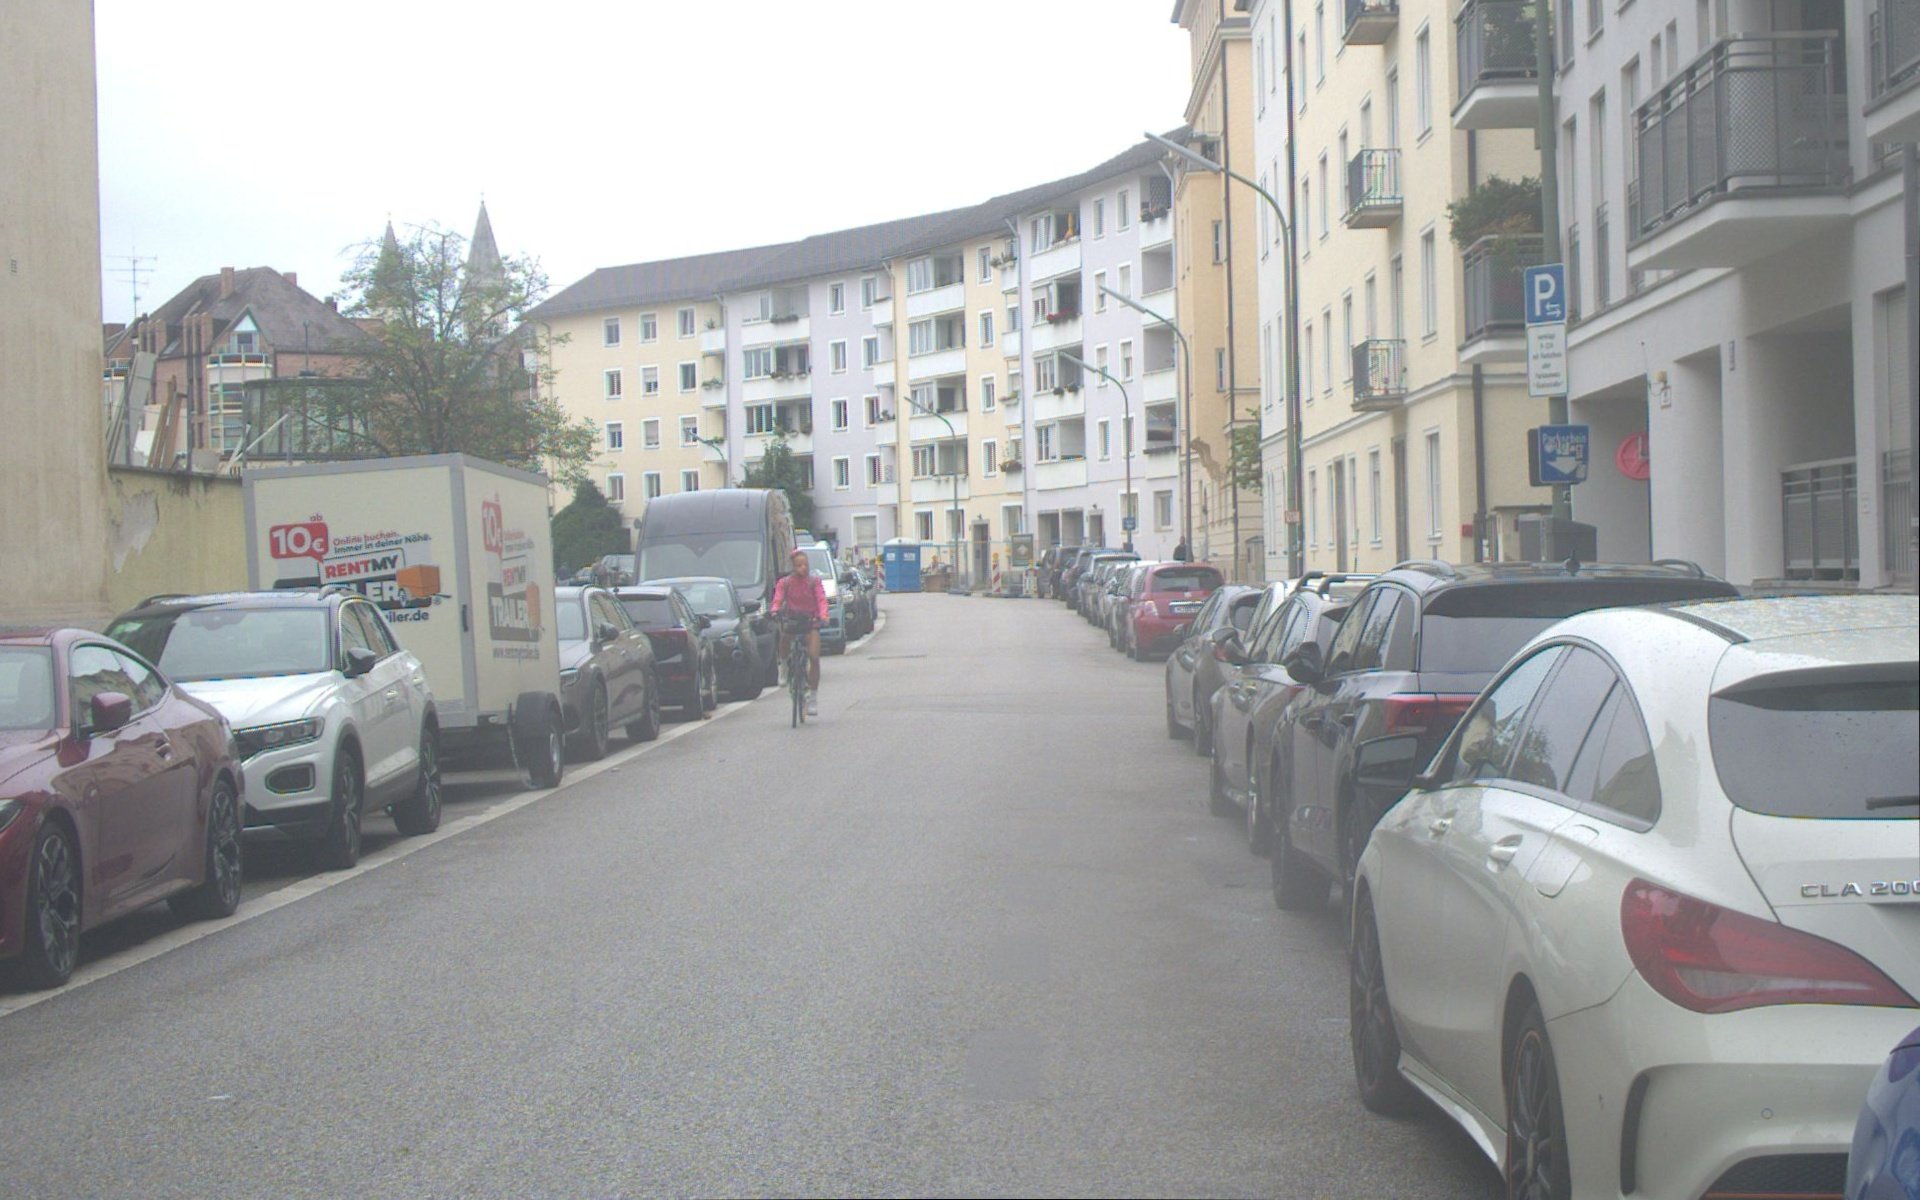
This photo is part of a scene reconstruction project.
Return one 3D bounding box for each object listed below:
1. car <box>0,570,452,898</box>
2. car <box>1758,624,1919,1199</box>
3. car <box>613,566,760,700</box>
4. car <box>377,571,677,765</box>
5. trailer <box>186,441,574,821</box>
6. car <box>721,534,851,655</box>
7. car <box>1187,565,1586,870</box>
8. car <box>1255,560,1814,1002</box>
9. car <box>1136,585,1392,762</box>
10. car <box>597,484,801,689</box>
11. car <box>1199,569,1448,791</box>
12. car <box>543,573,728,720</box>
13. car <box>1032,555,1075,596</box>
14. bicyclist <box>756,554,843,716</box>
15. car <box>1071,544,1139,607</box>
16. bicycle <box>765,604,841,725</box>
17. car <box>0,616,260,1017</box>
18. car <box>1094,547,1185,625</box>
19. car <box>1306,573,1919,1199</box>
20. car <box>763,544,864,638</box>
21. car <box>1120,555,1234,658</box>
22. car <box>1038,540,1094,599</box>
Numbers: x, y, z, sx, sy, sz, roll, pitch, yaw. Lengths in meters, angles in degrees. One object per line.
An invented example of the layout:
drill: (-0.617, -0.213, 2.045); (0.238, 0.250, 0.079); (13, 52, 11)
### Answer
car: (-4.128, 0.680, 19.861); (1.687, 1.597, 3.921); (-3, 1, 1)
car: (2.051, 0.763, 3.516); (1.618, 1.407, 3.554); (1, 0, 0)
car: (-3.331, 0.379, 42.395); (1.585, 1.533, 3.544); (-2, 0, -2)
car: (-3.826, 0.557, 31.126); (1.767, 1.533, 4.540); (-3, 0, 4)
trailer: (-4.131, 0.173, 25.193); (1.709, 2.453, 4.386); (-3, 1, 4)
car: (-3.002, -0.140, 60.177); (1.882, 1.925, 4.601); (-3, 1, 1)
car: (2.347, 0.583, 20.012); (1.734, 1.525, 4.622); (1, 1, 0)
car: (2.191, 0.614, 14.092); (1.603, 1.525, 3.984); (1, 1, 0)
car: (2.559, 0.588, 29.791); (1.763, 1.403, 4.079); (-1, 0, -1)
car: (-3.529, -0.236, 47.593); (2.088, 2.627, 5.376); (-1, 1, 3)
car: (2.640, 0.538, 25.589); (1.519, 1.525, 3.526); (0, 1, 1)
car: (-3.491, 0.468, 37.508); (1.700, 1.441, 3.825); (-1, 1, -1)
car: (3.008, -0.800, 110.522); (1.272, 1.294, 2.797); (-1, 1, 0)
bicyclist: (-1.587, 0.335, 34.113); (0.694, 1.556, 0.966); (-2, 1, 4)
car: (3.728, -0.645, 88.919); (1.590, 1.577, 4.299); (0, 1, 0)
bicycle: (-1.552, 0.625, 34.101); (0.504, 1.124, 1.773); (-2, 1, 4)
car: (-4.350, 0.835, 14.440); (1.860, 1.408, 4.334); (-3, 0, 0)
car: (3.606, -0.306, 69.446); (1.599, 1.486, 3.799); (-1, 1, 0)
car: (1.829, 0.683, 7.737); (1.658, 1.435, 4.207); (1, 1, 0)
car: (-2.832, -0.206, 67.083); (1.701, 1.685, 4.028); (-3, 1, 0)
car: (3.345, 0.068, 53.486); (1.595, 1.503, 3.800); (-1, 1, 2)
car: (3.033, -0.893, 98.875); (1.474, 1.635, 4.001); (0, 1, 0)
